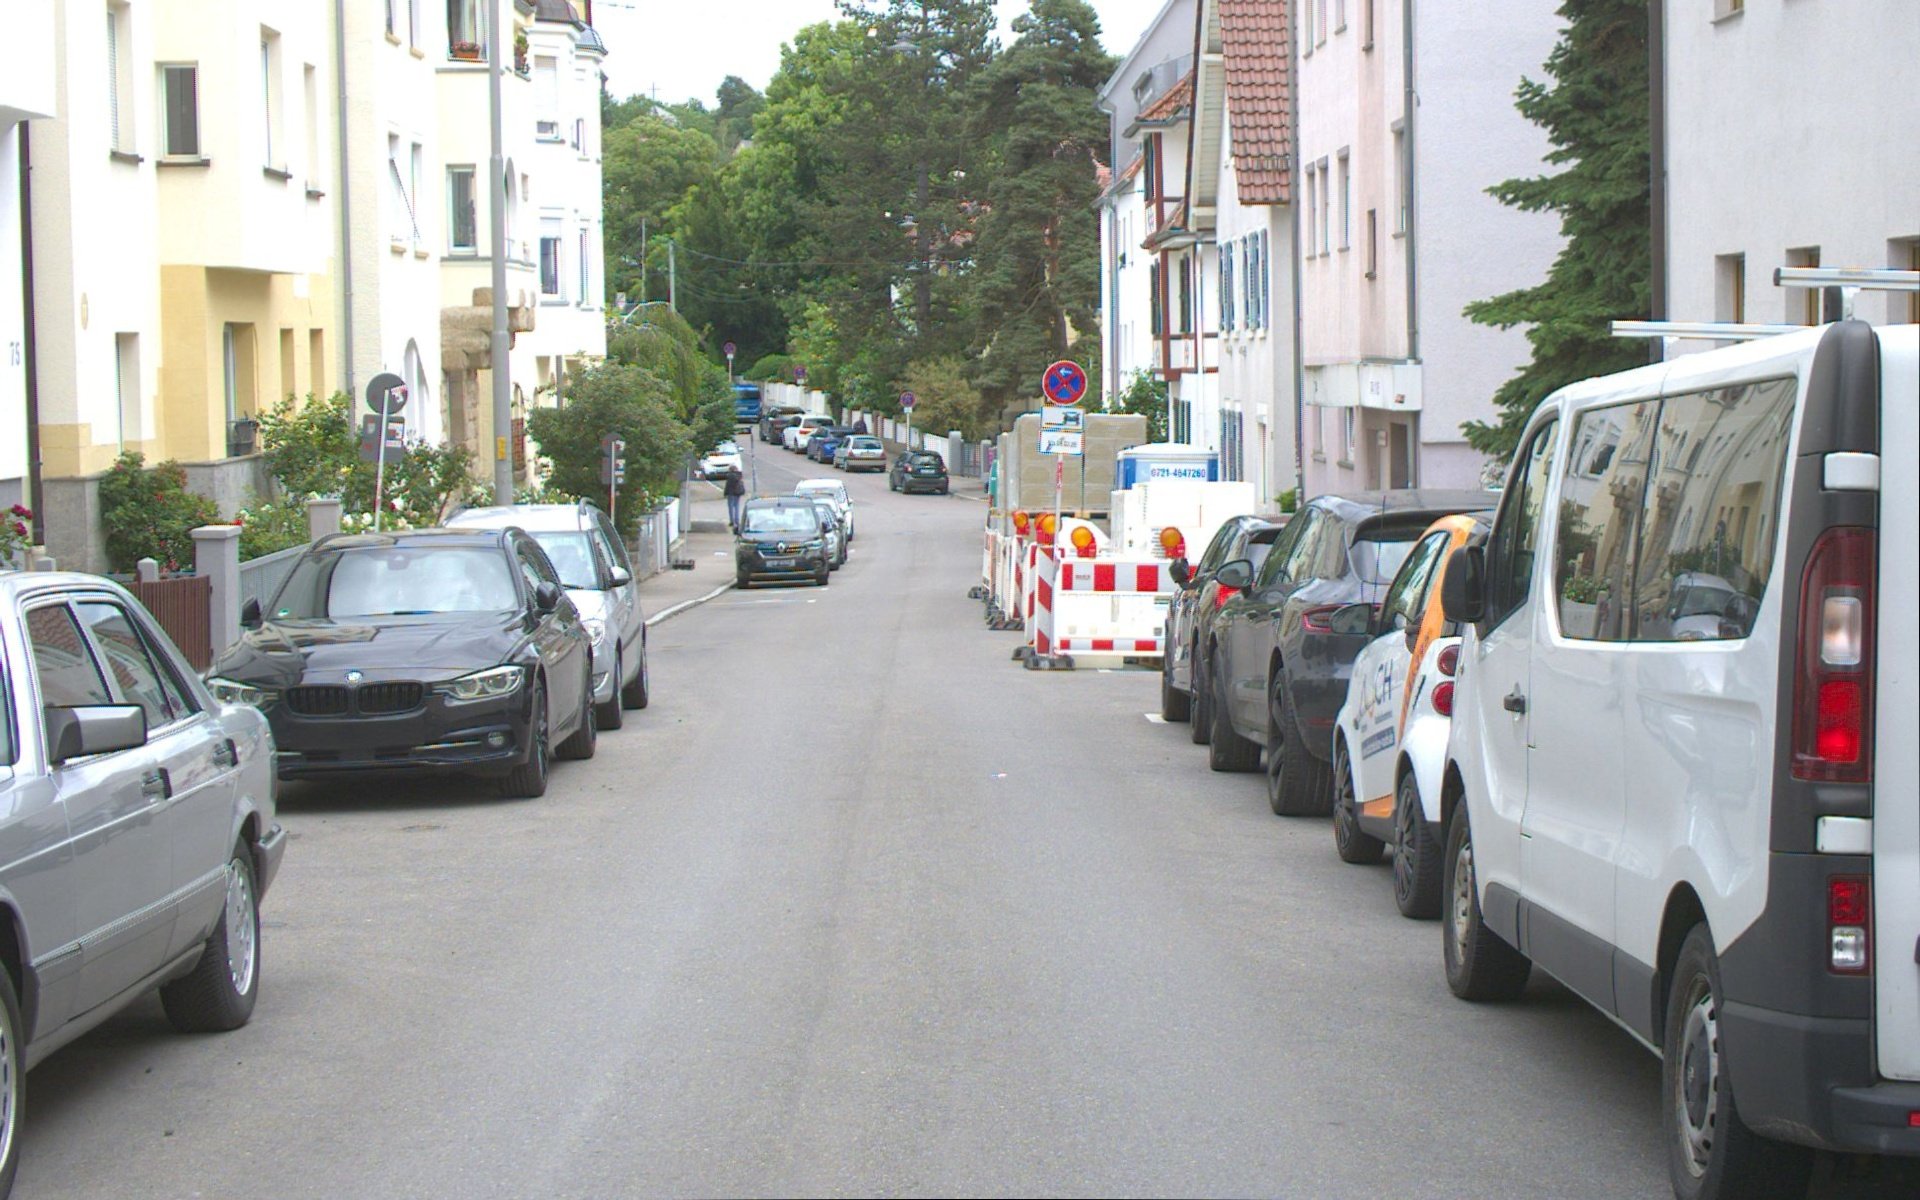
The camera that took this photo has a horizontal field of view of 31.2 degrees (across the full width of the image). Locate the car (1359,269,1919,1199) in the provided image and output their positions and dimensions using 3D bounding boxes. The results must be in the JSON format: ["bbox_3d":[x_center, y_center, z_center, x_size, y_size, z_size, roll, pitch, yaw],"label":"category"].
[{"bbox_3d":[2.417,0.296,9.212,1.905,2.023,5.734,1,2,-1],"label":"car"}]

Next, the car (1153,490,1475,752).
[{"bbox_3d":[2.298,0.067,23.259,1.715,1.560,4.074,1,2,0],"label":"car"}]

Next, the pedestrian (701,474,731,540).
[{"bbox_3d":[-7.212,-2.750,101.671,0.791,1.926,0.919,0,3,2],"label":"pedestrian"}]

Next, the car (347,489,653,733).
[{"bbox_3d":[-3.314,0.015,25.492,1.845,1.625,4.287,-1,2,-3],"label":"car"}]

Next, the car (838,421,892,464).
[{"bbox_3d":[-3.773,-6.245,136.313,1.634,1.478,3.532,0,6,-10],"label":"car"}]

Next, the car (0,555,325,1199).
[{"bbox_3d":[-3.003,0.639,8.790,1.845,1.408,5.062,-1,2,-1],"label":"car"}]

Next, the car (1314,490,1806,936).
[{"bbox_3d":[2.342,0.372,14.006,1.487,1.591,2.791,1,2,0],"label":"car"}]

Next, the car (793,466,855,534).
[{"bbox_3d":[-3.861,-2.877,98.027,1.672,1.651,3.865,-2,5,-1],"label":"car"}]

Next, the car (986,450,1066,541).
[{"bbox_3d":[1.786,-2.898,94.264,1.980,2.354,4.278,-1,3,-2],"label":"car"}]

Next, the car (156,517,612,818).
[{"bbox_3d":[-3.139,0.287,19.640,1.845,1.452,4.505,-2,2,0],"label":"car"}]

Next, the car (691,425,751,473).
[{"bbox_3d":[-9.305,-5.881,133.692,1.672,1.651,3.865,-3,5,-13],"label":"car"}]

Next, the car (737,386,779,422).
[{"bbox_3d":[-9.816,-9.533,167.143,1.634,1.532,3.532,0,6,-10],"label":"car"}]

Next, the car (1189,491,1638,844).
[{"bbox_3d":[2.280,0.249,18.401,1.713,1.591,4.499,1,2,-1],"label":"car"}]

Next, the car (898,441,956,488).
[{"bbox_3d":[-1.217,-4.915,124.490,1.634,1.478,3.532,0,6,-8],"label":"car"}]

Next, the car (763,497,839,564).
[{"bbox_3d":[-3.647,-1.624,79.524,1.642,1.412,3.984,-2,2,-1],"label":"car"}]

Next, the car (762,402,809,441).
[{"bbox_3d":[-7.762,-7.951,152.654,1.634,1.532,3.532,0,6,-10],"label":"car"}]

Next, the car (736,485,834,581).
[{"bbox_3d":[-3.541,-1.375,69.172,1.844,1.809,4.545,-2,2,-3],"label":"car"}]

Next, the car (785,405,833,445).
[{"bbox_3d":[-6.463,-7.486,146.834,1.634,1.532,3.532,0,6,-10],"label":"car"}]

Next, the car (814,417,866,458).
[{"bbox_3d":[-4.929,-6.655,140.846,1.634,1.478,3.532,0,6,-10],"label":"car"}]
